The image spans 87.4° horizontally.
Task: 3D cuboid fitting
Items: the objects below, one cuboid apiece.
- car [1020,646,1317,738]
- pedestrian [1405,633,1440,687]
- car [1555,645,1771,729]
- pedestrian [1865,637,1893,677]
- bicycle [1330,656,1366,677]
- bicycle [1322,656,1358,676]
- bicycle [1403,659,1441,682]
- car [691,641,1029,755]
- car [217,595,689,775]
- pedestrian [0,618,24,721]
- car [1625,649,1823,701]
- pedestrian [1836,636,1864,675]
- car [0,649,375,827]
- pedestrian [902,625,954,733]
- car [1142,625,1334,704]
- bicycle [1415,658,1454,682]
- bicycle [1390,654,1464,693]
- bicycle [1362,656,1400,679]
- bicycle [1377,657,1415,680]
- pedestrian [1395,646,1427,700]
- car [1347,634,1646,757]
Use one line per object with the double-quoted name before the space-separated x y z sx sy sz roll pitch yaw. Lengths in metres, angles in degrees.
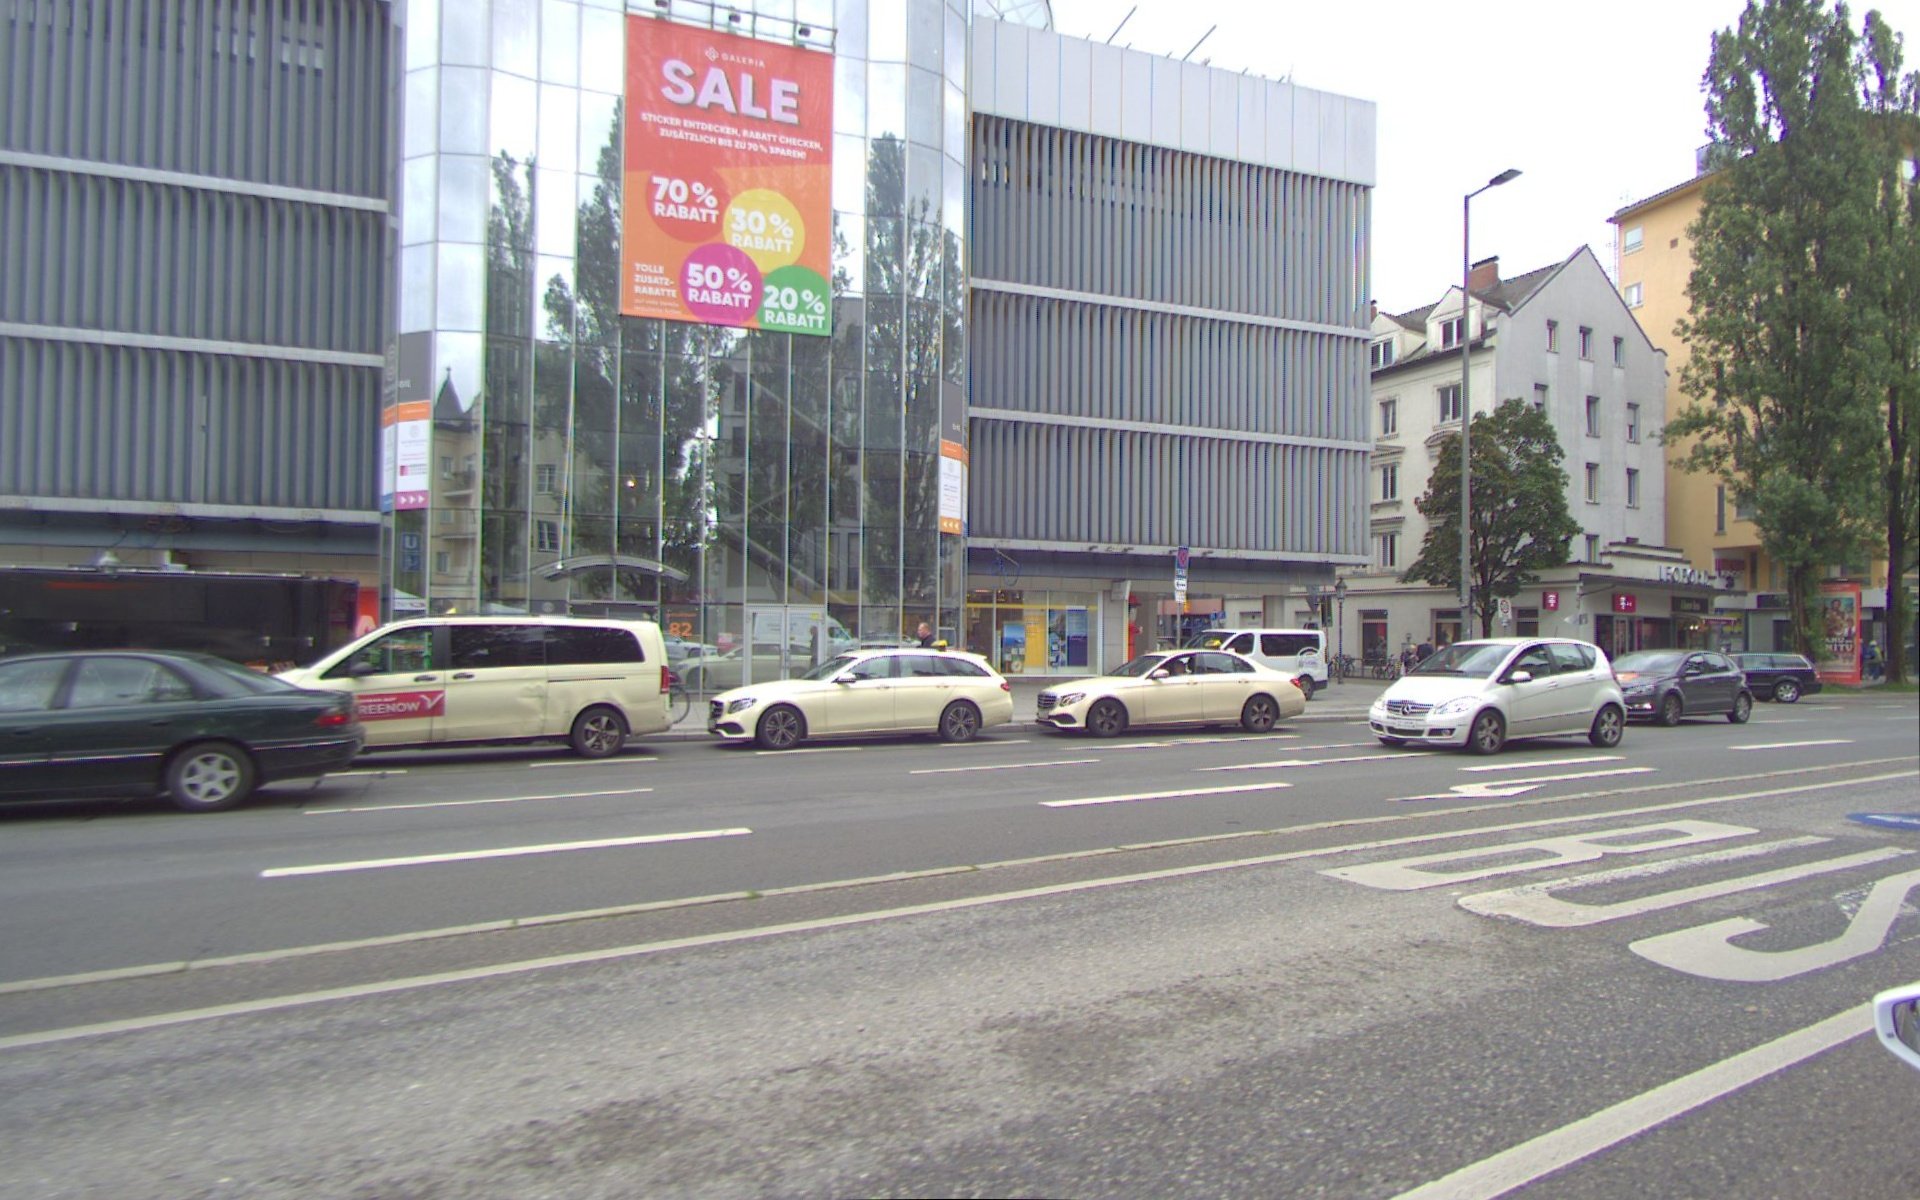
"car" 3.678 1.589 17.875 4.901 1.488 1.857 1 -4 -17
"pedestrian" 16.732 2.176 36.362 0.817 1.923 0.859 1 -2 -7
"car" 13.811 1.646 19.728 3.947 1.485 1.778 1 -3 -26
"pedestrian" 39.242 2.432 42.892 0.758 1.647 0.832 2 -1 -43
"bicycle" 18.371 3.146 47.528 1.855 0.976 0.457 1 -2 -25
"bicycle" 18.164 3.147 48.006 1.855 0.976 0.457 1 -2 -25
"bicycle" 20.151 3.050 43.805 1.855 0.976 0.457 1 -2 -25
"car" -1.551 1.463 16.016 5.019 1.572 1.971 2 -2 -27
"car" -6.533 1.078 13.521 5.255 2.040 1.986 2 -3 -28
"pedestrian" -17.371 1.227 17.775 0.801 1.828 0.792 0 -2 2
"car" 23.113 2.247 30.607 4.420 1.458 1.928 -1 -3 22
"pedestrian" 38.723 2.428 43.713 0.758 1.647 0.832 2 -1 -43
"car" -8.017 1.164 9.052 4.629 1.427 1.722 1 -2 -28
"pedestrian" -0.581 1.401 18.132 0.775 1.891 0.844 1 -2 -14
"car" 7.778 1.763 28.107 5.038 2.040 1.990 1 -2 -22
"bicycle" 20.471 3.007 43.292 1.855 0.976 0.457 1 -2 -25
"bicycle" 16.420 2.575 35.321 2.261 1.325 0.848 1 -2 -7
"bicycle" 19.001 3.035 45.284 1.855 0.976 0.457 1 -2 -25
"bicycle" 19.335 3.035 44.559 1.855 0.976 0.457 1 -2 -25
"pedestrian" 12.934 2.088 28.829 0.647 1.514 0.543 1 -2 -26
"car" 7.962 1.332 14.933 3.945 1.610 1.948 1 -2 -25
